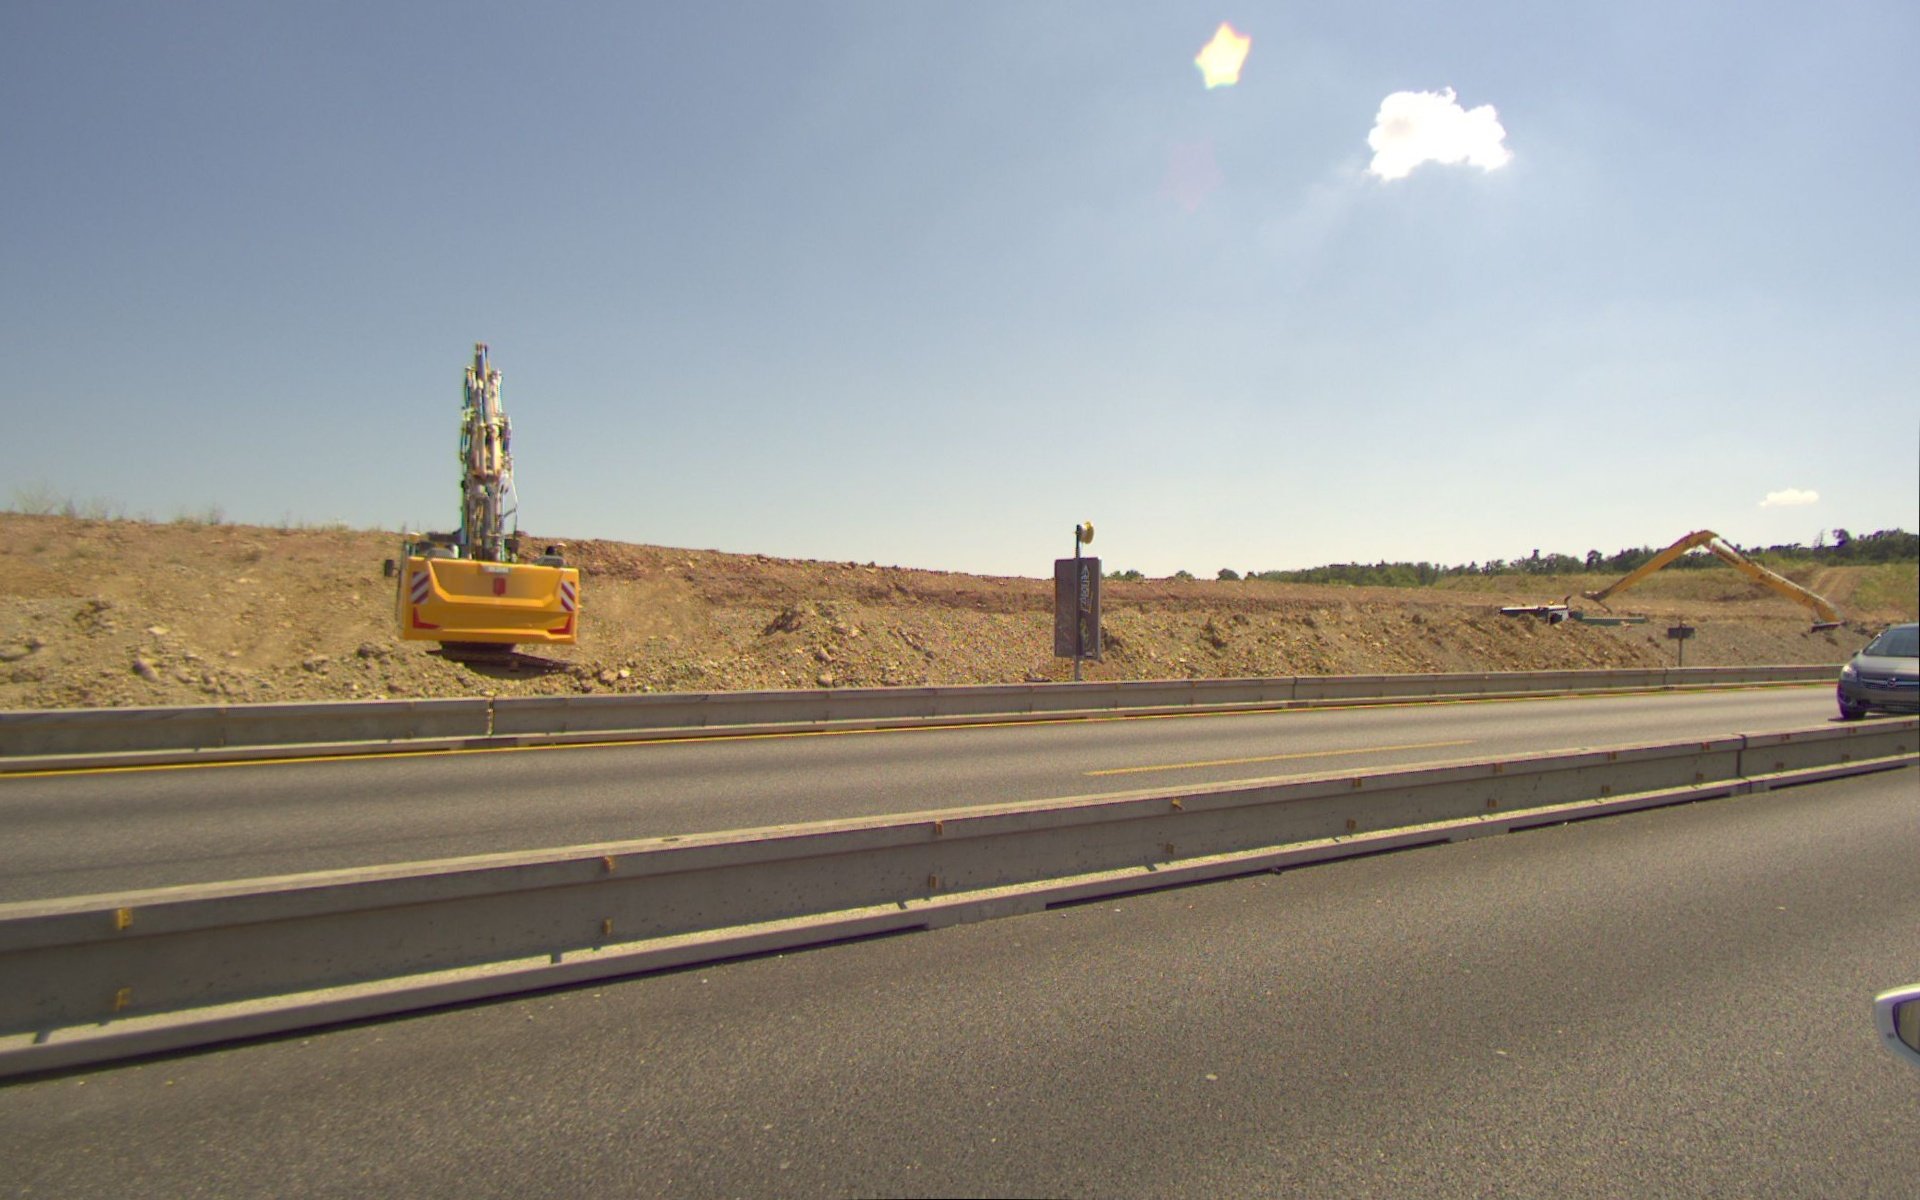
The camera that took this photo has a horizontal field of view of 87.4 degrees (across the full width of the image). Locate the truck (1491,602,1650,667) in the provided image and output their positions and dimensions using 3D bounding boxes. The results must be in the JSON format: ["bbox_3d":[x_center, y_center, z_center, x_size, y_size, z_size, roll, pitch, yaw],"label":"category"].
[{"bbox_3d":[26.731,1.489,43.807,8.312,2.652,2.305,1,-1,-30],"label":"truck"}]

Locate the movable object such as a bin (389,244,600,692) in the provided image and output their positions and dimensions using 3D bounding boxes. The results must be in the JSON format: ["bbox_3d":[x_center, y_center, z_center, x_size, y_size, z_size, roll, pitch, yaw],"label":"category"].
[{"bbox_3d":[-10.179,-2.235,21.707,3.402,7.816,7.607,1,-1,-28],"label":"movable object such as a bin"}]

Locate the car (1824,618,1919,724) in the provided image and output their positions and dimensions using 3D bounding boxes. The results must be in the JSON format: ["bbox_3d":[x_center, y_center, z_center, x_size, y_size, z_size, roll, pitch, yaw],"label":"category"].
[{"bbox_3d":[15.891,1.106,16.285,4.047,1.579,1.644,1,-1,-30],"label":"car"}]

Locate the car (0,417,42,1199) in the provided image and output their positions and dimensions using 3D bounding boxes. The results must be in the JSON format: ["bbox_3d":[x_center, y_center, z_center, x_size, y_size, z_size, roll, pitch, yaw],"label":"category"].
[{"bbox_3d":[-3.727,0.472,0.441,4.549,1.813,1.912,1,0,-30],"label":"car"}]

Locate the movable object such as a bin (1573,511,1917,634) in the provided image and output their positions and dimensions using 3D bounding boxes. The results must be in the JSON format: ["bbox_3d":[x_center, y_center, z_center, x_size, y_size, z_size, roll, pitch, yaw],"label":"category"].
[{"bbox_3d":[52.696,-1.529,68.931,3.575,7.327,18.615,1,-1,-31],"label":"movable object such as a bin"}]
